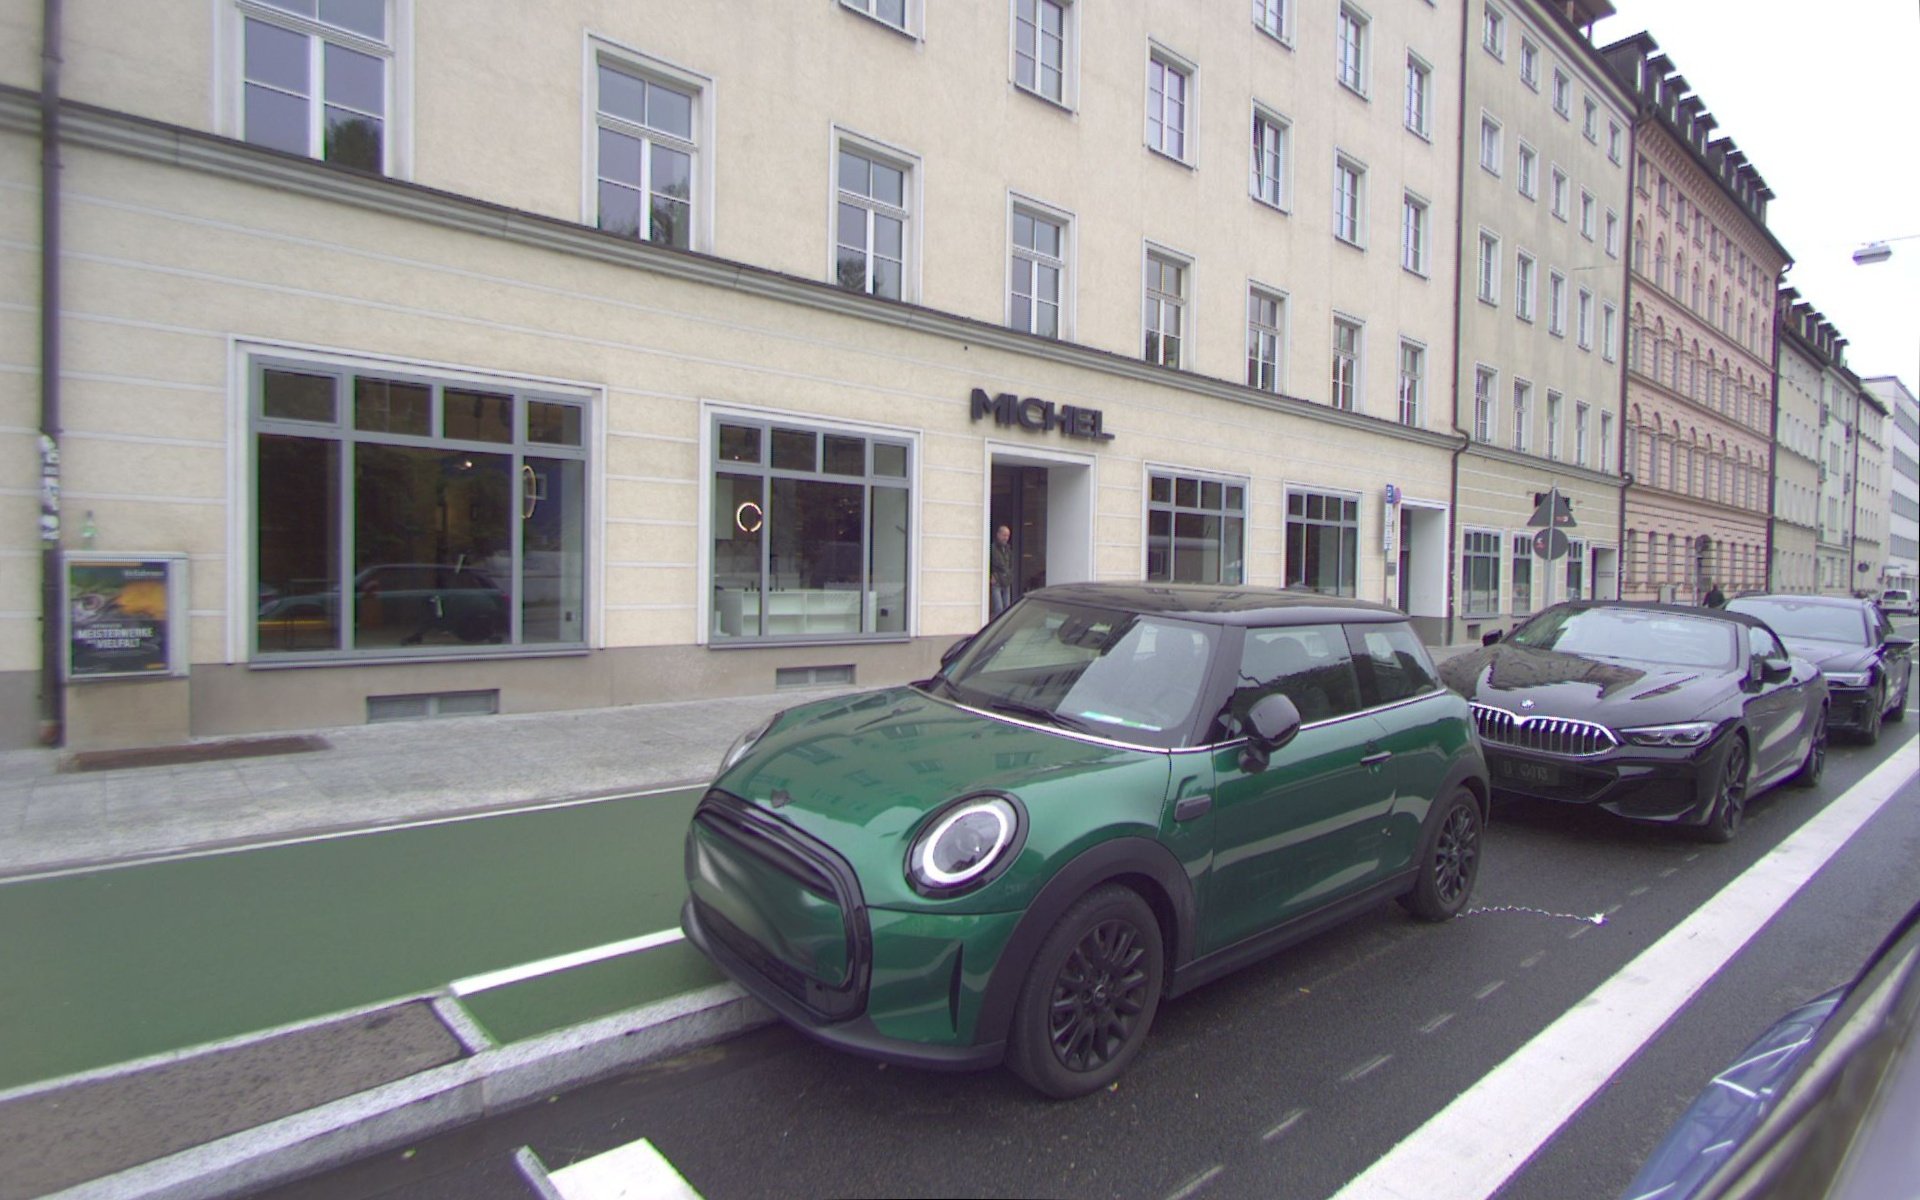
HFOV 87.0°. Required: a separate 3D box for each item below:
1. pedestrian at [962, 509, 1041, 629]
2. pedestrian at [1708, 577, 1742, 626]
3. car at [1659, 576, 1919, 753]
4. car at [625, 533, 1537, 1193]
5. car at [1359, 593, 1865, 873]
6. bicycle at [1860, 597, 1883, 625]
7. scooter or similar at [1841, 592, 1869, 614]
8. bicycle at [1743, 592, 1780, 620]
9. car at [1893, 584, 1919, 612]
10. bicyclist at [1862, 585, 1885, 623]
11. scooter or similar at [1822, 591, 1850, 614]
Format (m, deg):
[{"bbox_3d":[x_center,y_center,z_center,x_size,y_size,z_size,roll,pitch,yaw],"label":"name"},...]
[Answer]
[{"bbox_3d":[0.610,-0.463,14.997,0.767,1.710,0.861,0,2,-39],"label":"pedestrian"},{"bbox_3d":[27.747,0.048,36.715,0.819,1.767,0.795,0,1,-40],"label":"pedestrian"},{"bbox_3d":[9.661,0.573,11.499,4.386,1.498,1.812,0,5,-43],"label":"car"},{"bbox_3d":[0.758,0.599,4.223,3.761,1.540,1.678,0,0,-40],"label":"car"},{"bbox_3d":[4.953,0.668,7.382,4.636,1.425,1.829,0,0,-40],"label":"car"},{"bbox_3d":[35.813,0.428,39.785,0.630,1.050,1.987,2,2,42],"label":"bicycle"},{"bbox_3d":[51.611,0.156,58.365,1.063,1.207,0.451,2,1,20],"label":"scooter or similar"},{"bbox_3d":[34.145,0.251,43.098,1.690,1.191,0.558,0,1,-27],"label":"bicycle"},{"bbox_3d":[65.184,-0.175,69.087,3.931,1.855,1.764,0,1,-42],"label":"car"},{"bbox_3d":[35.880,0.156,39.745,0.630,1.486,0.643,2,1,42],"label":"bicyclist"},{"bbox_3d":[47.909,0.127,55.368,1.055,1.261,0.554,1,1,-6],"label":"scooter or similar"}]
